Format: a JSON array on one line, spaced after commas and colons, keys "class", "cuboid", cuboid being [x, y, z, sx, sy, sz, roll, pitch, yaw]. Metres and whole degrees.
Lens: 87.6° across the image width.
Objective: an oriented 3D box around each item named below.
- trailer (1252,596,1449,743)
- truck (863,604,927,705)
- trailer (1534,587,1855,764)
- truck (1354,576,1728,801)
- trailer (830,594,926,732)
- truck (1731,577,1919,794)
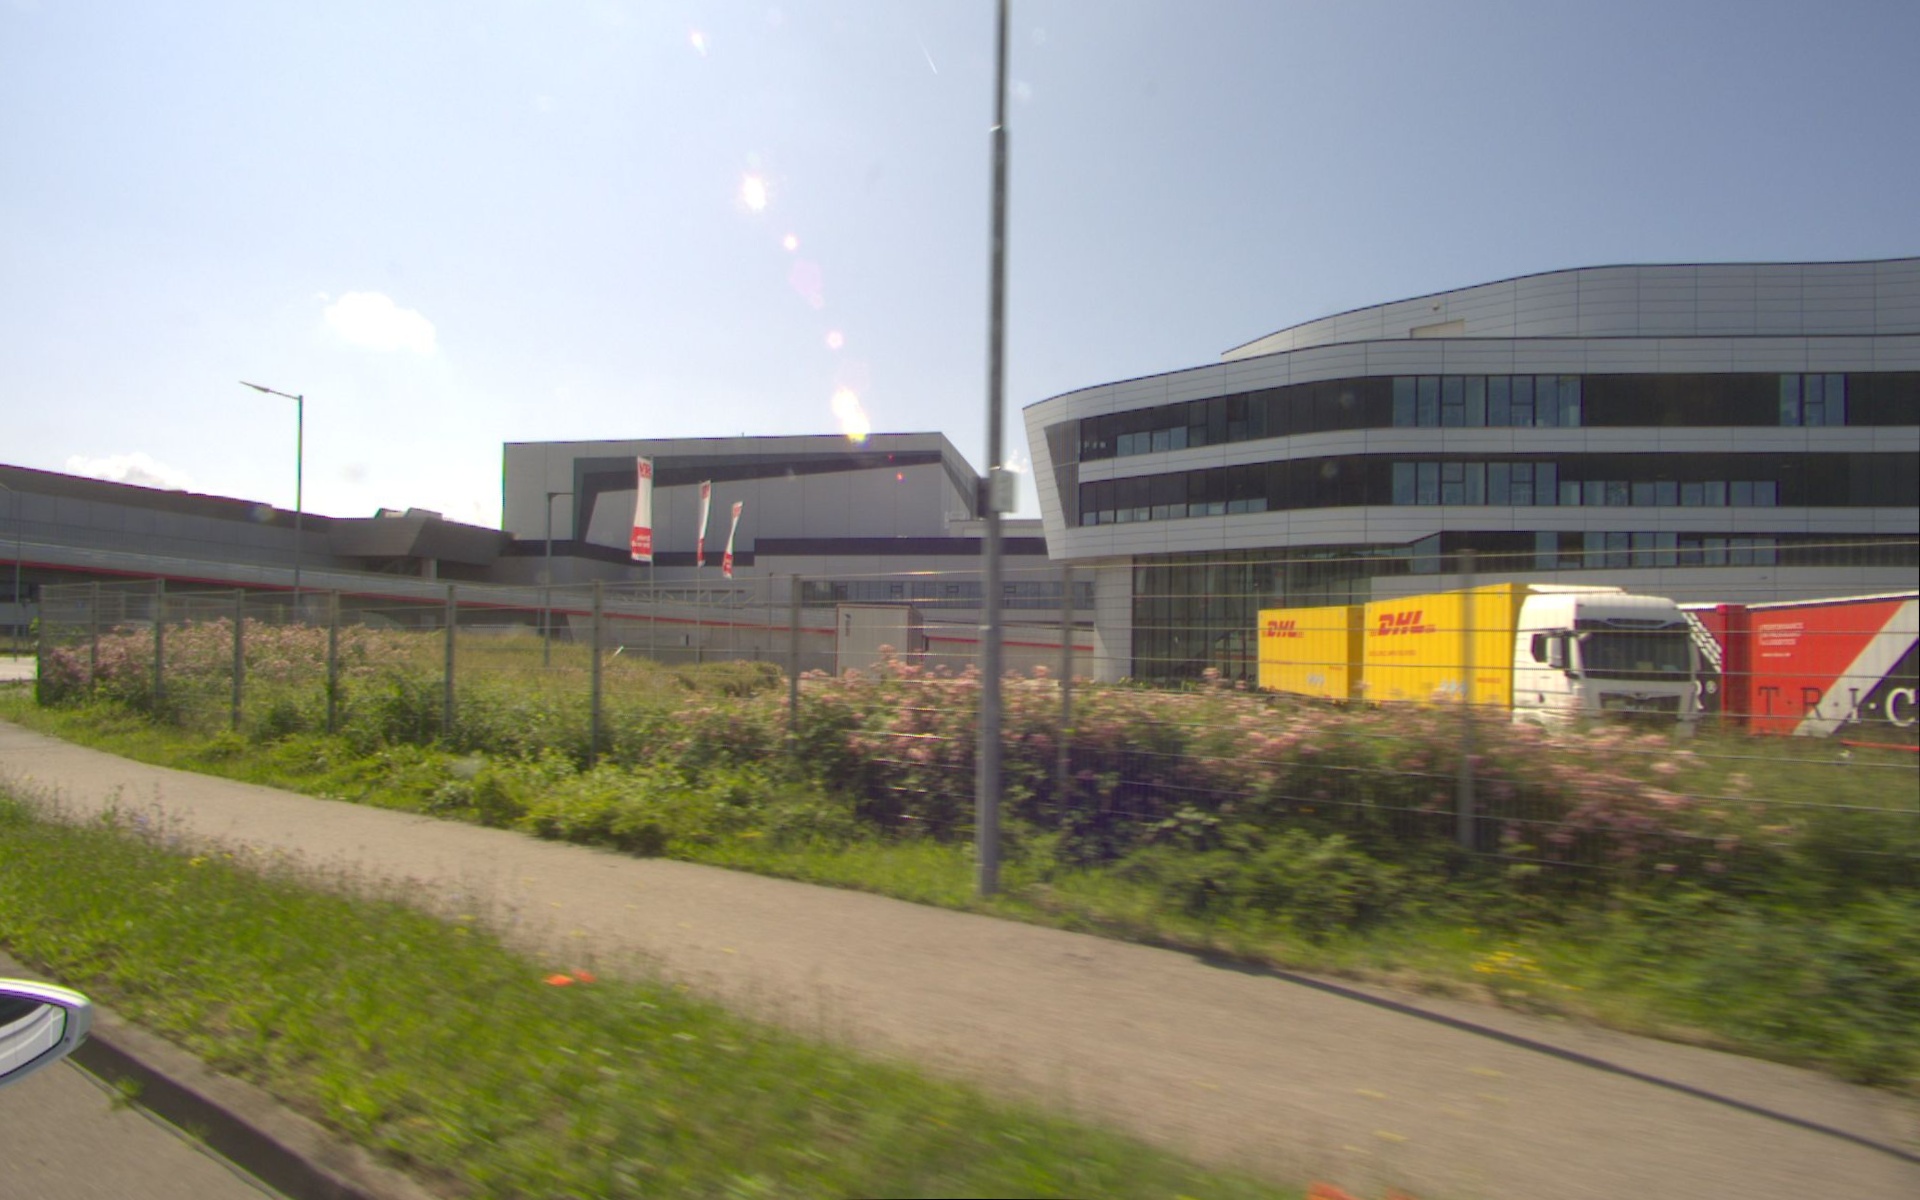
[{"class": "trailer", "cuboid": [12.866, 2.186, 34.047, 2.845, 4.351, 8.718, 0, -2, -3]}, {"class": "truck", "cuboid": [-2.972, 2.497, 47.040, 2.712, 4.479, 5.293, 0, -1, 0]}, {"class": "trailer", "cuboid": [20.628, 1.997, 29.090, 2.970, 4.351, 8.719, 0, -2, 1]}, {"class": "truck", "cuboid": [13.065, 1.827, 24.299, 2.767, 4.226, 10.978, 0, -2, 1]}, {"class": "trailer", "cuboid": [-2.942, 2.286, 39.994, 2.712, 4.494, 14.069, 0, -2, 0]}, {"class": "truck", "cuboid": [20.573, 1.679, 19.279, 2.970, 4.310, 10.978, 0, -2, 0]}]
